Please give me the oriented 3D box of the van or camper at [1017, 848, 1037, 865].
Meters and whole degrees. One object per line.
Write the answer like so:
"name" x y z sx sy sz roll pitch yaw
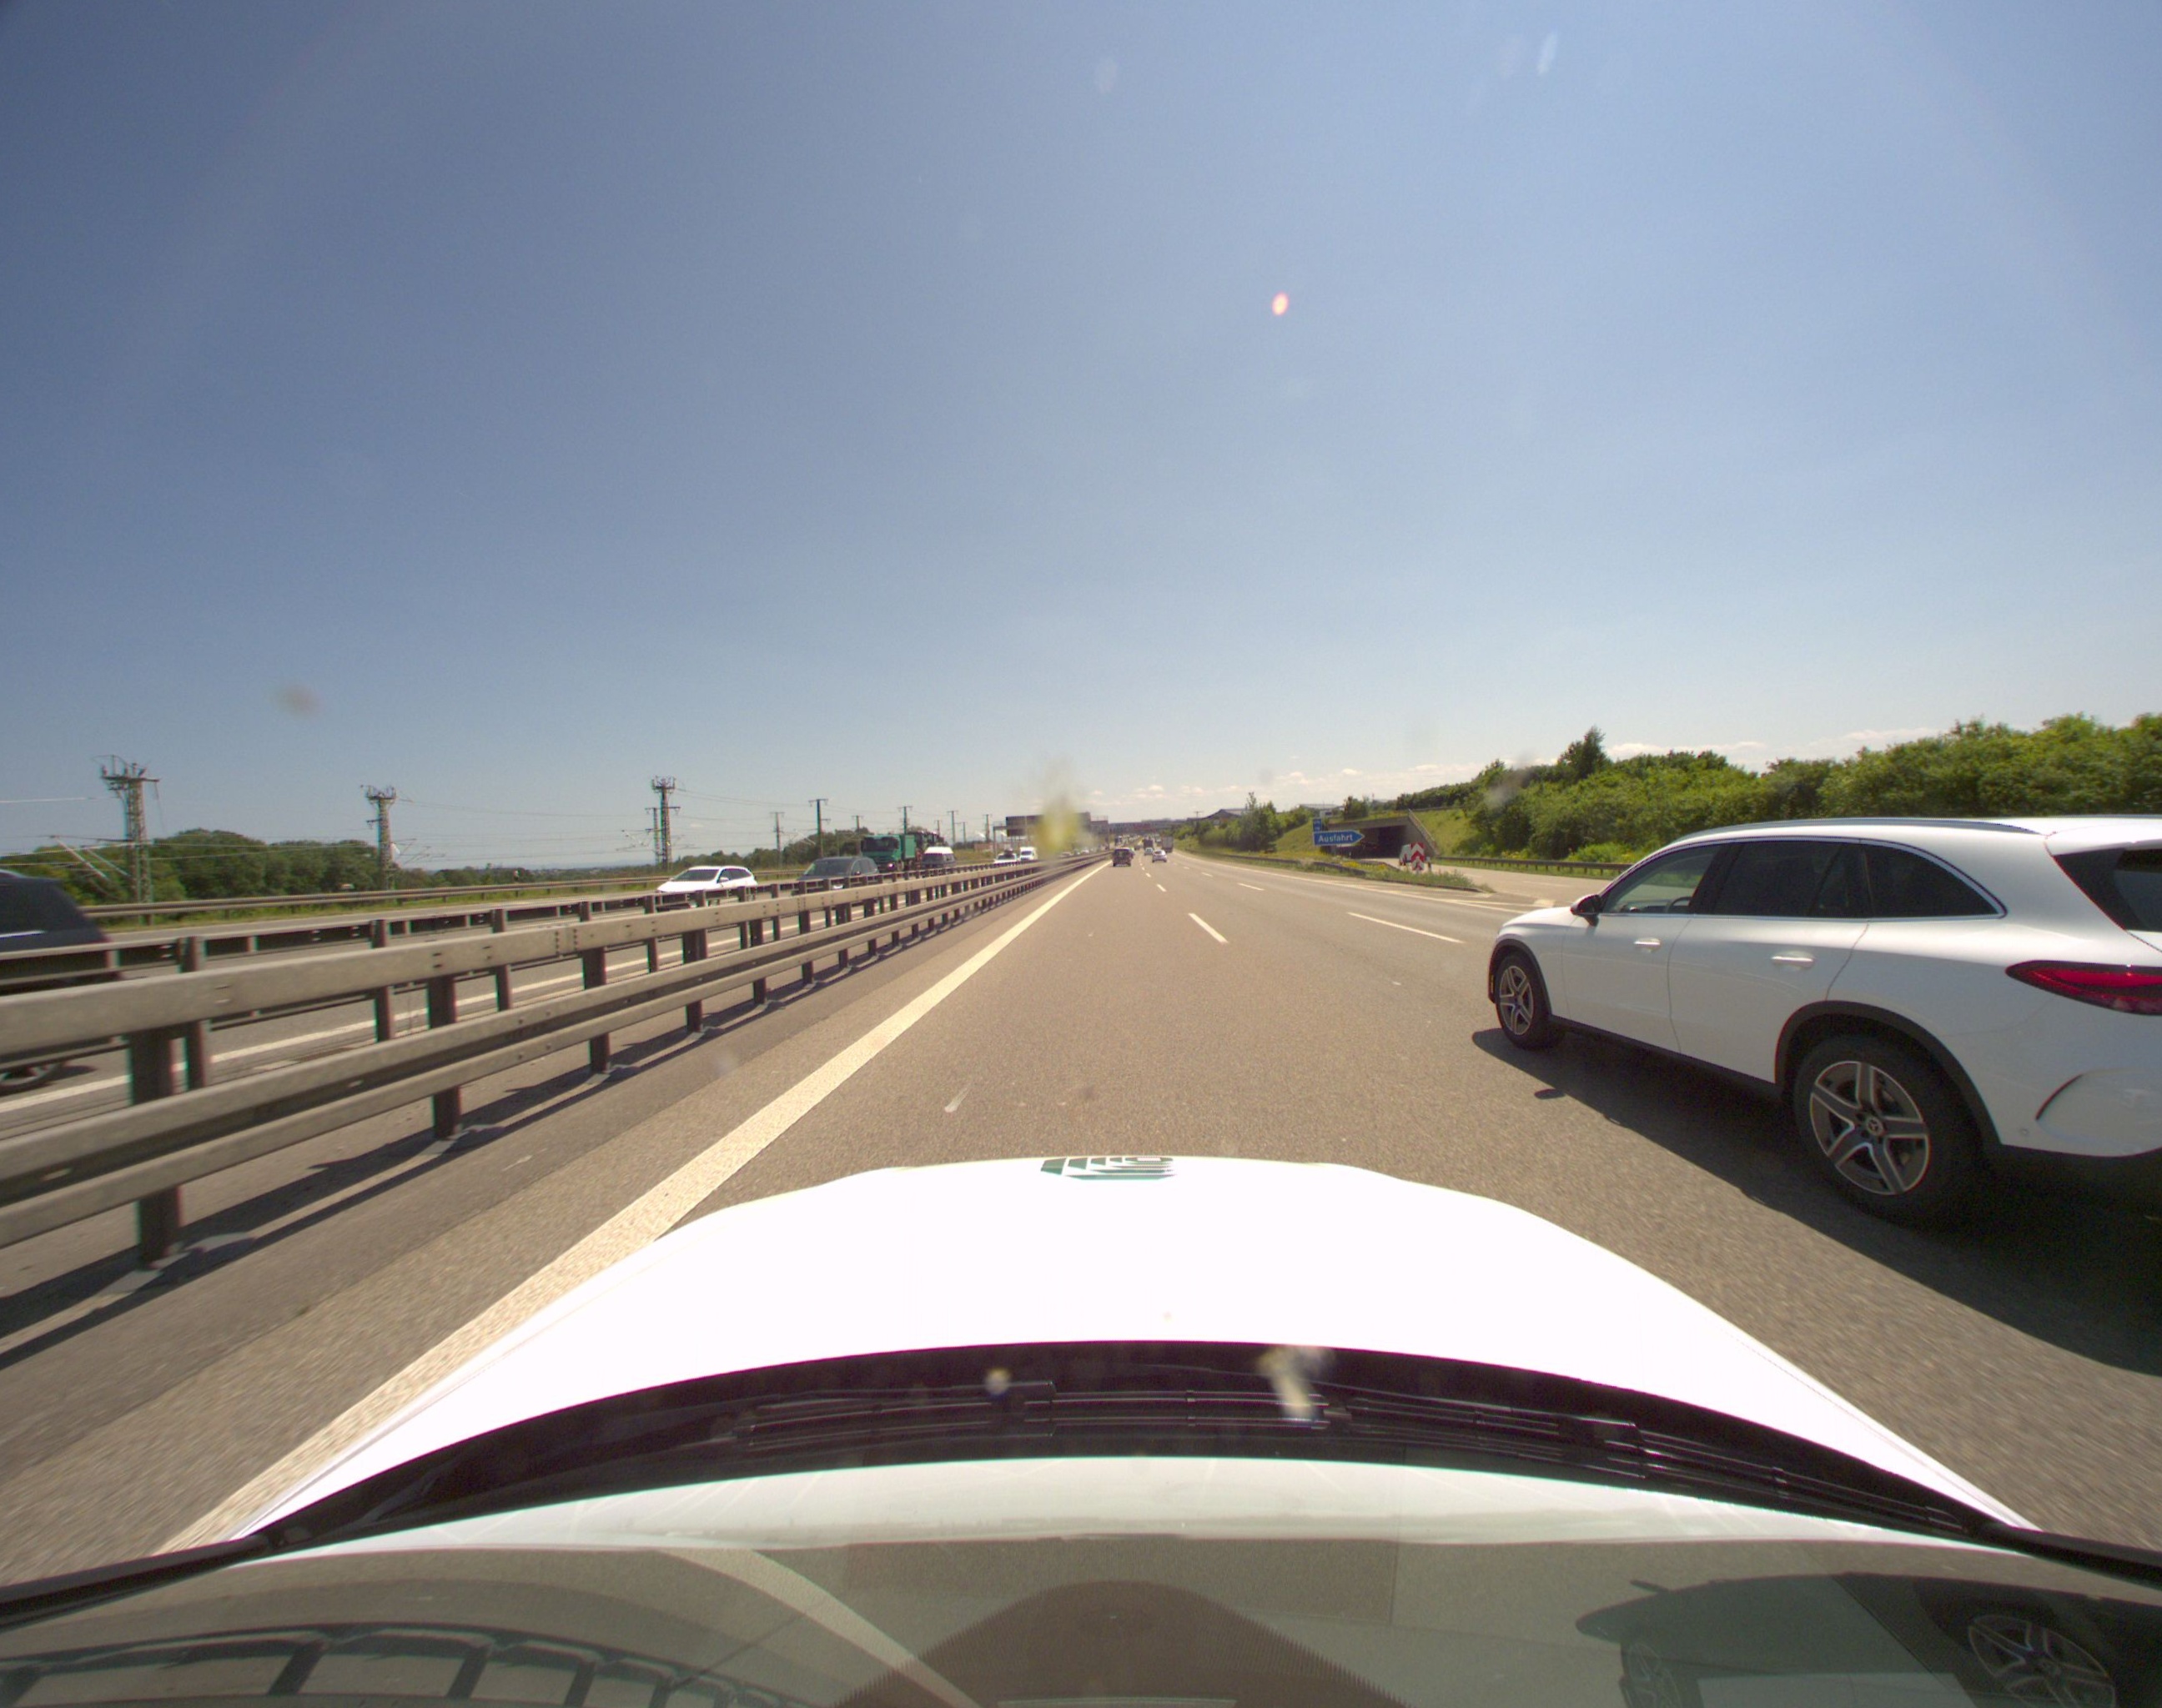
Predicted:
"van or camper" -7.535 0.285 114.184 1.985 2.300 5.898 -1 0 3

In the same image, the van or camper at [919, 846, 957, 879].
"van or camper" -10.327 0.577 59.148 1.749 2.221 4.943 -1 0 2

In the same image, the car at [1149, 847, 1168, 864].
"car" 9.438 0.235 98.952 1.920 1.919 4.518 -1 -1 1

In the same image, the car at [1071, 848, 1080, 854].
"car" -1.178 -0.602 184.452 1.758 1.347 4.003 -1 0 3

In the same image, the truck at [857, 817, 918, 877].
"truck" -14.667 -0.446 62.364 2.749 4.245 6.980 -1 -1 2

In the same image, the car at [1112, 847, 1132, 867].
"car" 4.098 0.323 80.895 1.919 1.919 4.951 -1 -1 3

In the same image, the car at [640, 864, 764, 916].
"car" -12.289 1.113 26.806 1.749 1.481 4.636 -1 0 2

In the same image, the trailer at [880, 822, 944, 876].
"trailer" -14.402 -0.337 70.310 2.749 4.245 11.205 -1 -1 2

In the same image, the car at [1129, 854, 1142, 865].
"car" 8.846 0.891 132.684 1.917 1.627 4.525 -1 -1 6

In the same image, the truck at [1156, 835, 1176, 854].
"truck" 20.629 -2.386 198.371 4.022 4.261 11.768 -1 2 3

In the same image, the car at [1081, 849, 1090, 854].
"car" 1.188 -0.651 205.435 1.939 1.347 4.003 -1 0 3

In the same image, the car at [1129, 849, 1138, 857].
"car" 10.968 -0.249 169.762 1.568 1.552 3.970 -1 -1 6

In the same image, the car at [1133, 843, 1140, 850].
"car" 17.505 -2.323 257.038 2.178 2.002 4.002 -1 3 1

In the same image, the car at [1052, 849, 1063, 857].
"car" -4.378 -0.237 152.264 1.686 1.347 4.003 -1 0 3

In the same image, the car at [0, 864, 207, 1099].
"car" -8.707 0.950 4.881 1.749 1.669 4.700 -1 0 2

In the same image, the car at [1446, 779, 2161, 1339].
"car" 4.132 0.620 4.870 1.890 1.647 5.003 -1 -1 3

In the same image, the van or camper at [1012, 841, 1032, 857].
"van or camper" -10.334 -0.789 143.099 2.506 2.665 8.071 -1 0 3

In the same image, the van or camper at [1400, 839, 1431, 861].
"van or camper" 32.374 -0.350 78.892 2.140 2.014 4.320 -1 -1 14

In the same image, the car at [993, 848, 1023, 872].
"car" -5.793 0.476 65.288 1.800 1.798 4.842 -1 0 2

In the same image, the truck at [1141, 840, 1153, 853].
"truck" 17.139 -2.008 212.498 2.691 3.109 10.666 -1 -1 3

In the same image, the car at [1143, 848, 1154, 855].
"car" 13.472 -0.493 162.641 1.974 1.473 4.003 -2 -1 3

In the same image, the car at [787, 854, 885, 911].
"car" -8.215 0.889 27.778 1.749 1.741 4.723 -1 0 2

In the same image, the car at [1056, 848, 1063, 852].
"car" -6.687 -1.247 257.296 1.939 1.347 4.003 -1 0 3

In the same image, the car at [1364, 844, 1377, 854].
"car" 53.910 -0.928 151.508 1.979 1.750 4.016 -1 -1 15
